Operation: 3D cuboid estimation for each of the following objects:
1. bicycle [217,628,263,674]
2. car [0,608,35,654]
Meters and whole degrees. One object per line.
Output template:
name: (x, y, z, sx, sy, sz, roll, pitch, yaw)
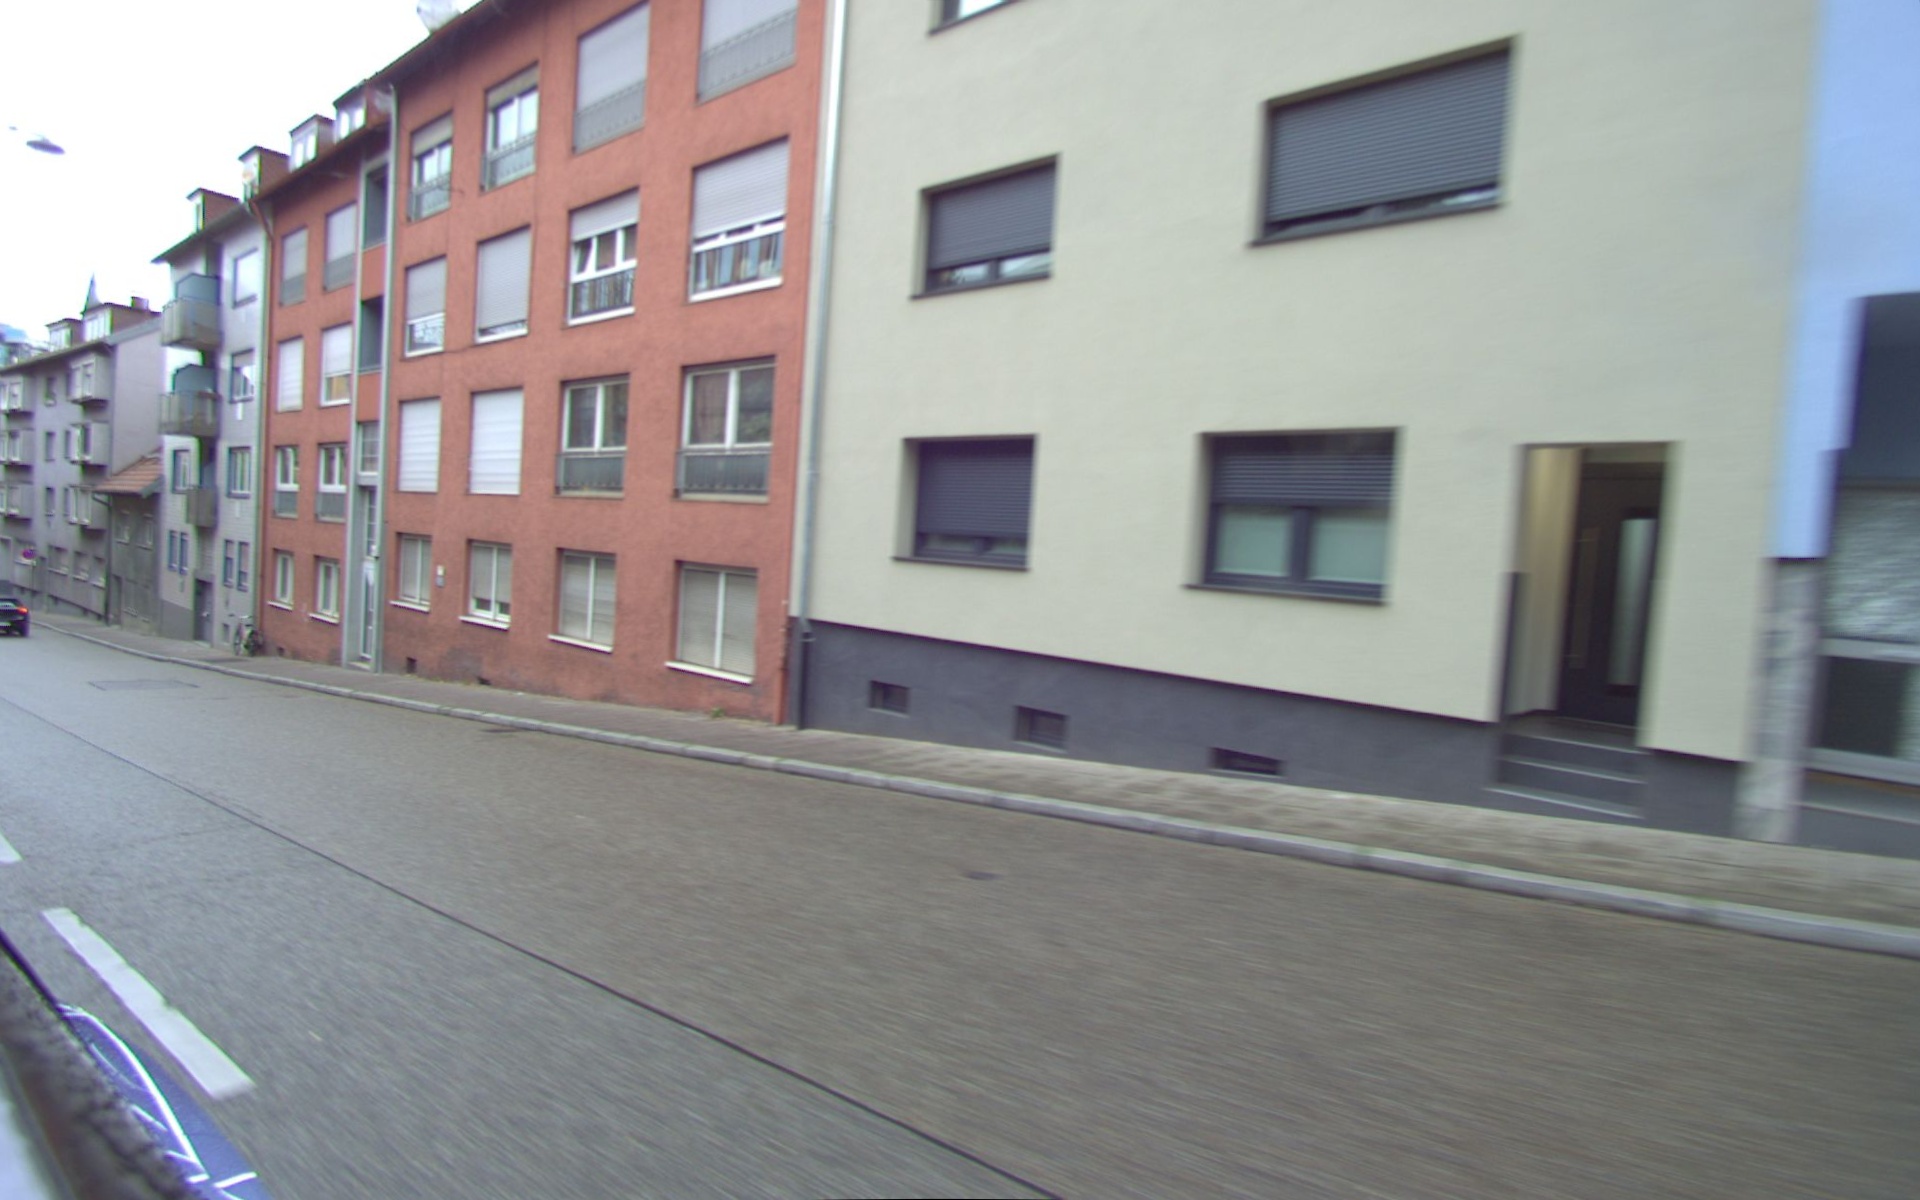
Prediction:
bicycle: (-19.735, 1.383, 27.732, 2.039, 1.125, 0.565, 1, 2, 42)
car: (-34.563, 1.049, 35.872, 3.996, 1.490, 1.974, 1, -2, 39)
